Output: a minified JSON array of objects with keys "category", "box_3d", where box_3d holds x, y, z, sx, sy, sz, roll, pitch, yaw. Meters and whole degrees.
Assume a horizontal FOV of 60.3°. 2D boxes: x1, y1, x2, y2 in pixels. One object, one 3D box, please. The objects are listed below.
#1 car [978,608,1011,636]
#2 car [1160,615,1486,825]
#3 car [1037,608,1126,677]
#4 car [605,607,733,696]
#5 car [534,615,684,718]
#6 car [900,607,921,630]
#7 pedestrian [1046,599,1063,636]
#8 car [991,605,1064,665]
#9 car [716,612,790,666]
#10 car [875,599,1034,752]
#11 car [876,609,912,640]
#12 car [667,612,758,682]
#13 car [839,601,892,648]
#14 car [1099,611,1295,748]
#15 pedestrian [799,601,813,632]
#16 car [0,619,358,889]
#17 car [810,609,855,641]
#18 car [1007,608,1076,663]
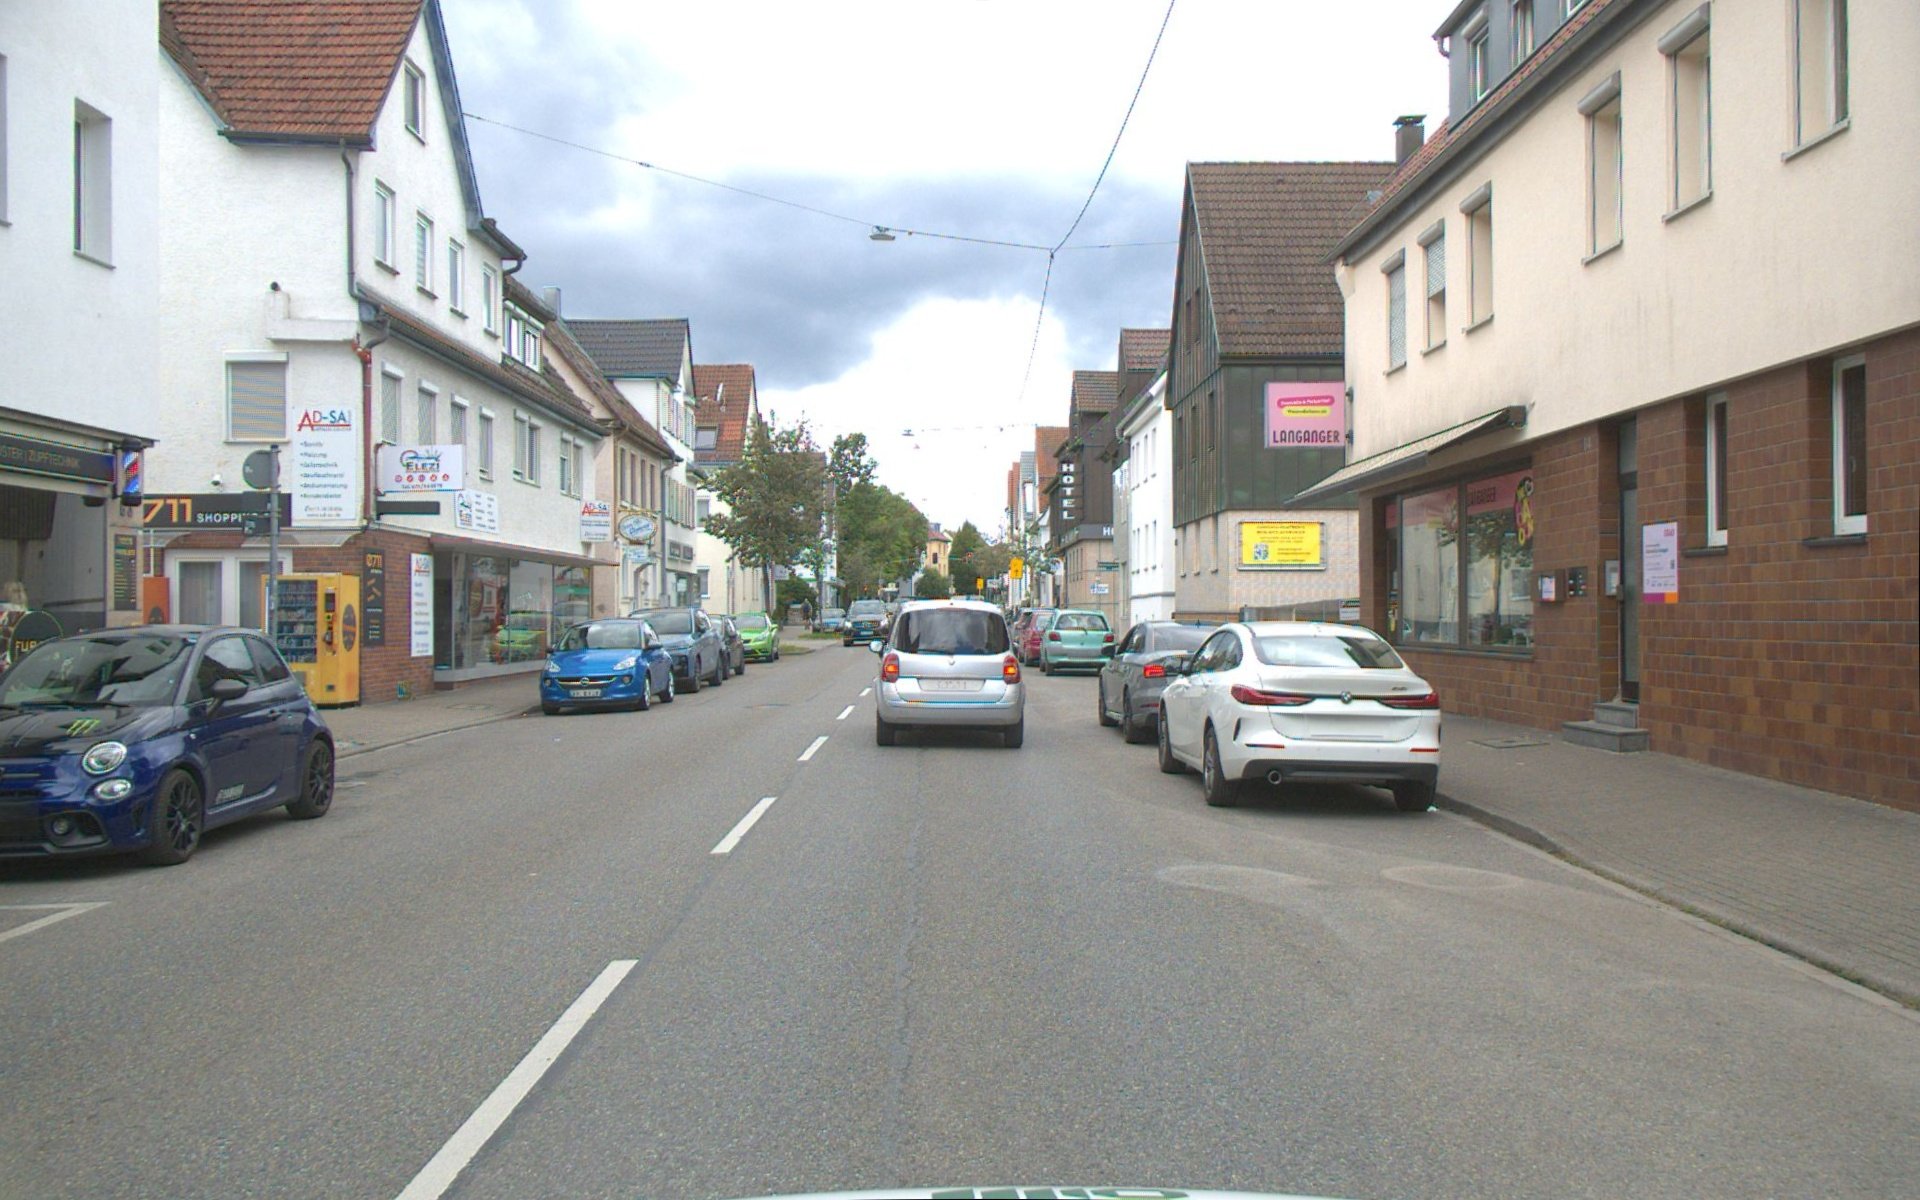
[{"category":"car","box_3d":[1.900,1.214,91.972,1.666,1.493,4.237,1,-1,-1]},{"category":"car","box_3d":[2.865,0.879,14.015,1.793,1.471,4.331,1,0,0]},{"category":"car","box_3d":[2.809,0.962,39.066,1.793,1.524,3.993,1,0,0]},{"category":"car","box_3d":[-5.769,0.979,33.216,1.766,1.627,4.304,-2,0,0]},{"category":"car","box_3d":[-5.727,1.046,27.403,1.648,1.525,3.774,-2,0,0]},{"category":"car","box_3d":[-4.615,1.724,154.438,1.913,2.049,3.999,1,-1,-1]},{"category":"pedestrian","box_3d":[5.078,0.937,89.309,0.839,1.962,0.899,1,-1,-1]},{"category":"car","box_3d":[1.732,0.905,43.685,1.719,1.471,4.454,1,0,0]},{"category":"car","box_3d":[-6.045,1.105,48.730,1.648,1.473,4.020,-2,0,0]},{"category":"car","box_3d":[-0.058,0.816,19.493,1.648,1.593,3.993,1,0,0]},{"category":"car","box_3d":[-3.581,1.328,90.516,1.758,1.606,4.191,-2,0,-1]},{"category":"car","box_3d":[-5.734,1.057,38.745,1.549,1.534,3.812,1,-1,0]},{"category":"car","box_3d":[-3.770,0.976,66.509,1.862,1.768,4.365,-2,0,0]},{"category":"car","box_3d":[2.777,0.893,20.209,1.793,1.471,4.109,1,0,0]},{"category":"pedestrian","box_3d":[-9.181,0.981,98.836,0.747,1.823,0.889,1,-1,-1]},{"category":"car","box_3d":[-5.631,0.923,11.355,1.648,1.519,3.591,-2,0,0]},{"category":"car","box_3d":[-6.447,1.270,84.060,1.908,1.493,4.515,-2,-1,0]},{"category":"car","box_3d":[2.412,1.041,49.974,1.837,1.566,4.512,1,-1,0]}]
